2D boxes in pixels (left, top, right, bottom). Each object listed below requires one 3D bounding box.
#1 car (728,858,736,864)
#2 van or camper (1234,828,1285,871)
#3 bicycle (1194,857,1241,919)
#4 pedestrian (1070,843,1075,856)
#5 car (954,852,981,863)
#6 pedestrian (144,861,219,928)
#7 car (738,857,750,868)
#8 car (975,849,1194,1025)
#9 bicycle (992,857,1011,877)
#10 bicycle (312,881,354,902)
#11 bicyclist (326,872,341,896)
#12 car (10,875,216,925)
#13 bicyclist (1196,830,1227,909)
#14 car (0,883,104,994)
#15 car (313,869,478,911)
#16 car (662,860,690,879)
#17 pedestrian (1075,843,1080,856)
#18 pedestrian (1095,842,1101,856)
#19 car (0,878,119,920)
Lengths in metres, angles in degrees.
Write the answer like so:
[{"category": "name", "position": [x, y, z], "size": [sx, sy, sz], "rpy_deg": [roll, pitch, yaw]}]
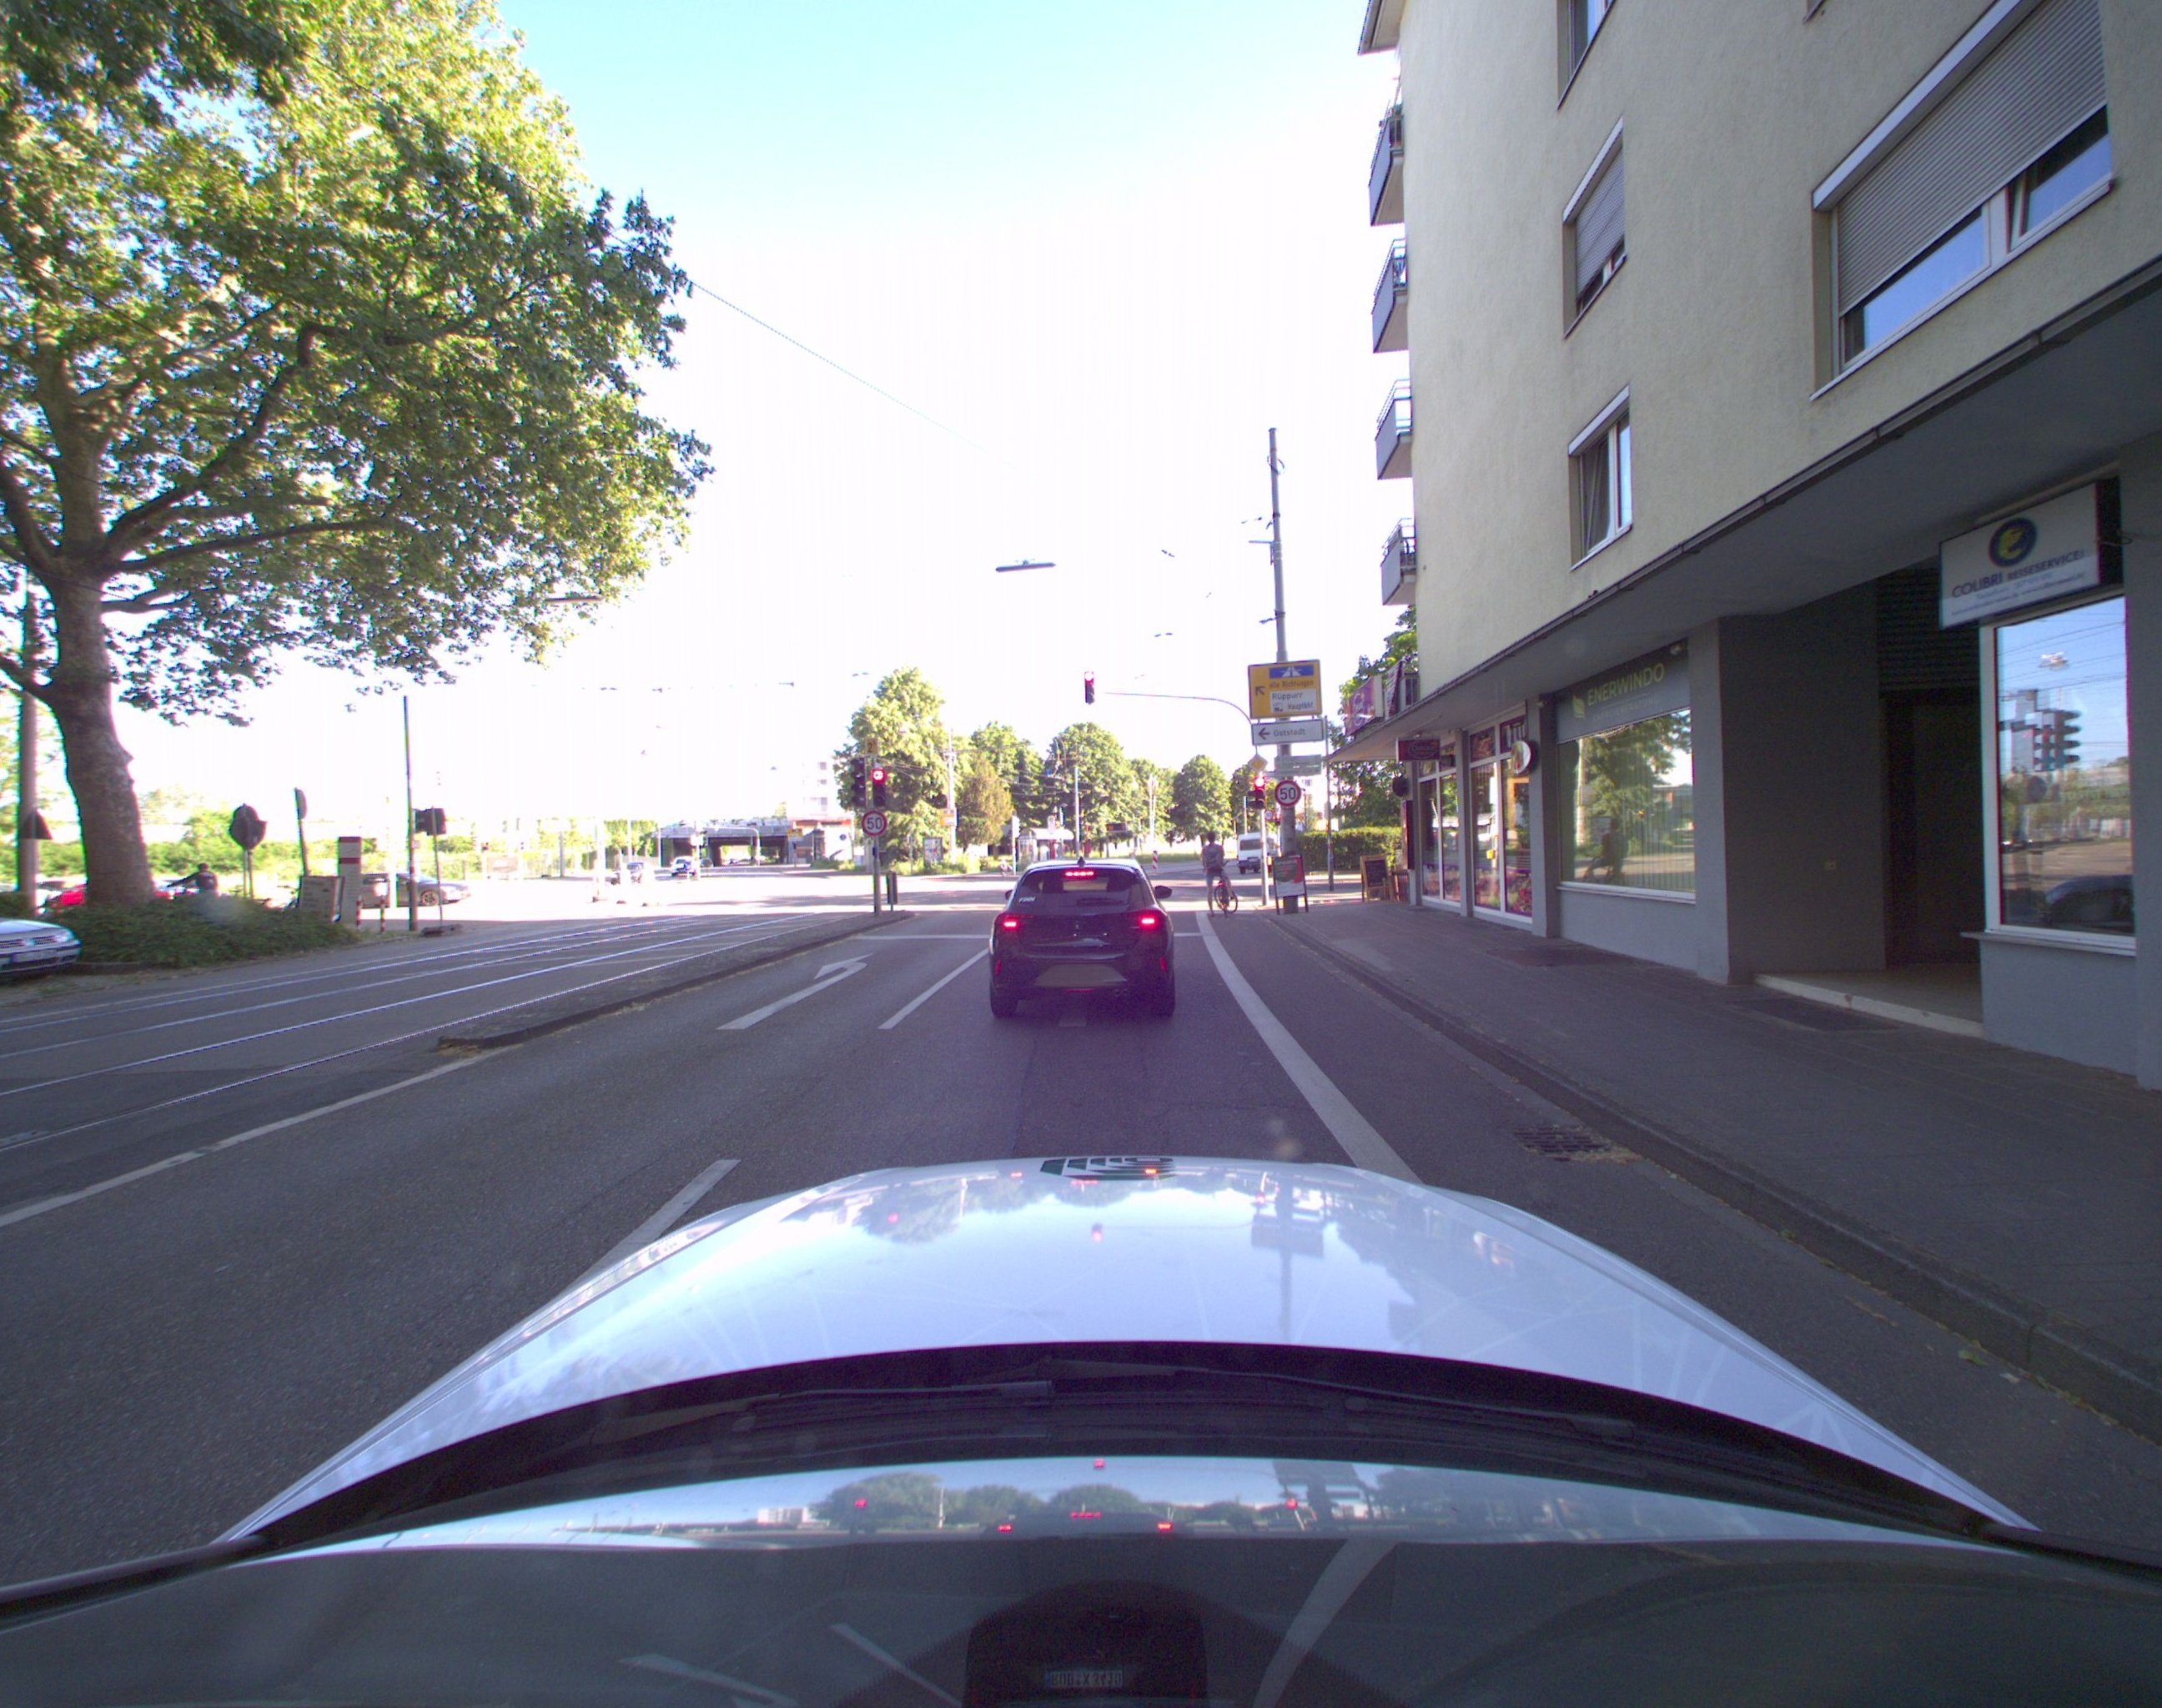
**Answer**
[{"category": "car", "position": [-85.679, 1.764, 200.004], "size": [1.587, 1.260, 3.397], "rpy_deg": [-2, 0, -28]}, {"category": "van or camper", "position": [10.171, -0.224, 46.152], "size": [2.011, 2.310, 4.565], "rpy_deg": [-1, -1, 23]}, {"category": "bicycle", "position": [3.031, 0.713, 17.971], "size": [0.747, 1.235, 2.024], "rpy_deg": [-2, 0, 16]}, {"category": "pedestrian", "position": [-1.224, -0.652, 116.107], "size": [0.602, 1.872, 0.519], "rpy_deg": [0, -1, -4]}, {"category": "car", "position": [-16.363, 0.471, 117.531], "size": [3.549, 1.569, 1.535], "rpy_deg": [0, -1, -22]}, {"category": "pedestrian", "position": [-22.661, 1.010, 20.532], "size": [0.842, 1.647, 0.931], "rpy_deg": [0, -1, 1]}, {"category": "car", "position": [-54.291, 1.395, 131.193], "size": [1.761, 1.684, 3.713], "rpy_deg": [0, -1, -22]}, {"category": "car", "position": [0.092, 0.701, 8.924], "size": [1.833, 1.462, 3.985], "rpy_deg": [-1, 0, 2]}, {"category": "bicycle", "position": [-4.575, 0.721, 46.900], "size": [0.793, 1.064, 2.186], "rpy_deg": [-2, 0, 2]}, {"category": "bicycle", "position": [-39.082, 1.964, 42.573], "size": [1.586, 0.982, 0.521], "rpy_deg": [-2, 0, -45]}, {"category": "bicyclist", "position": [-39.085, 1.567, 42.581], "size": [0.533, 1.222, 0.521], "rpy_deg": [-1, 0, -44]}, {"category": "car", "position": [-36.157, 1.679, 30.622], "size": [4.498, 1.565, 2.006], "rpy_deg": [-1, 0, -25]}, {"category": "bicyclist", "position": [2.853, 0.328, 17.835], "size": [0.529, 1.692, 0.571], "rpy_deg": [-2, 0, 19]}, {"category": "car", "position": [-16.630, 1.193, 11.337], "size": [3.957, 1.453, 1.670], "rpy_deg": [-1, 0, -1]}, {"category": "car", "position": [-27.788, 1.434, 33.194], "size": [4.732, 1.473, 1.931], "rpy_deg": [-1, 0, -14]}, {"category": "car", "position": [-35.863, 1.375, 72.131], "size": [1.892, 1.585, 3.809], "rpy_deg": [0, -1, -21]}, {"category": "pedestrian", "position": [-0.516, -0.660, 115.801], "size": [0.602, 1.872, 0.519], "rpy_deg": [0, -1, -4]}, {"category": "pedestrian", "position": [2.372, -0.710, 112.989], "size": [0.607, 1.872, 0.515], "rpy_deg": [0, -1, -26]}, {"category": "car", "position": [-41.325, 1.760, 31.916], "size": [4.206, 1.552, 1.980], "rpy_deg": [0, -1, -27]}]
